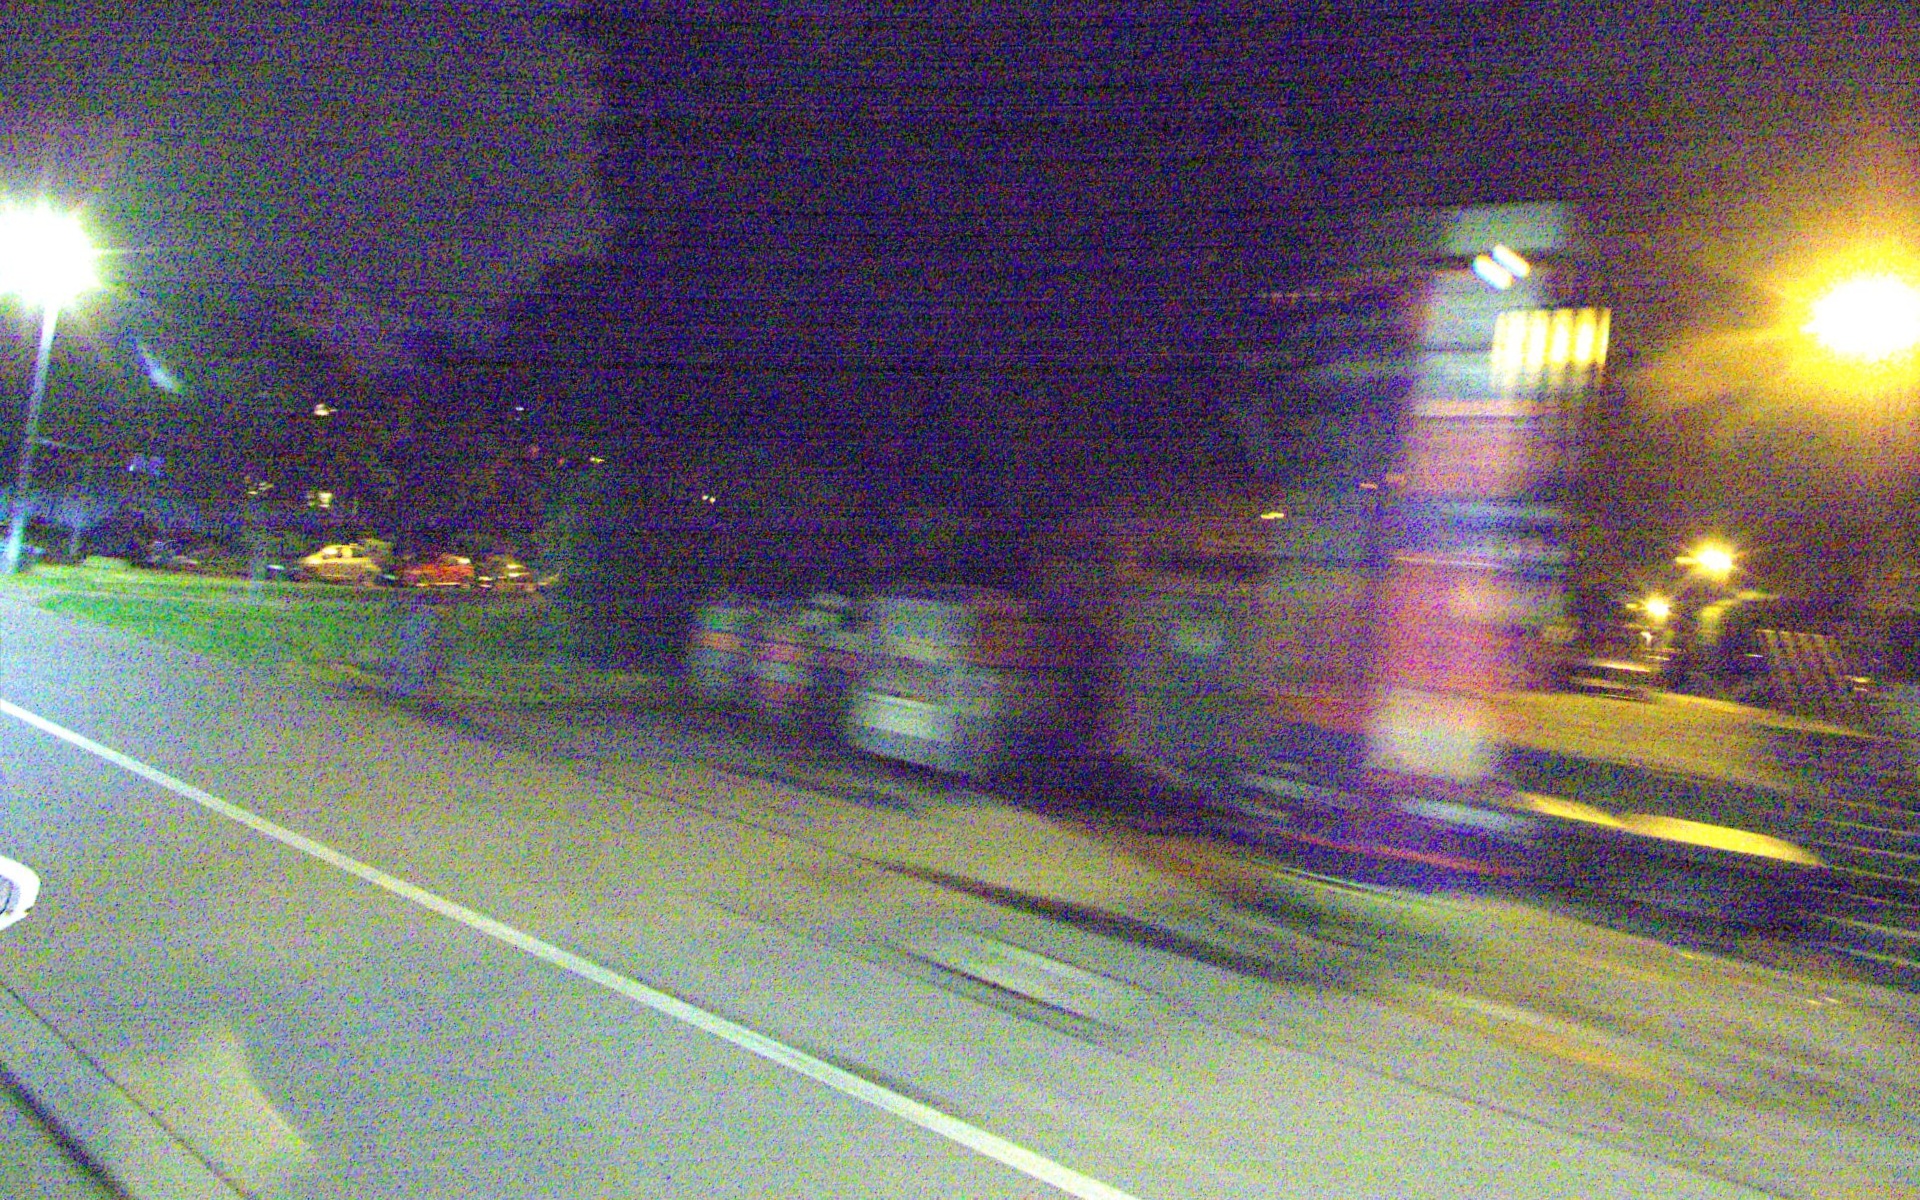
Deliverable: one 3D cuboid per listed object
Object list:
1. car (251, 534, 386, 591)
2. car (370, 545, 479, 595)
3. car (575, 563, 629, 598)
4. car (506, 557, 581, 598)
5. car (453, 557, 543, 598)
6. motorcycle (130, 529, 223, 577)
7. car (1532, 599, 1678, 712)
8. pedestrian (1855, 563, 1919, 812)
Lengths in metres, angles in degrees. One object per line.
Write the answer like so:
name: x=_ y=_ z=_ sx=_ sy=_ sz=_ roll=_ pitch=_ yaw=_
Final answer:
car: x=-22.879 y=-1.302 z=36.033 sx=1.829 sy=1.497 sz=3.634 roll=7 pitch=-1 yaw=16
car: x=-21.703 y=-1.162 z=40.929 sx=1.582 sy=1.566 sz=4.035 roll=7 pitch=-1 yaw=11
car: x=-20.952 y=-1.102 z=59.043 sx=1.637 sy=1.690 sz=3.543 roll=7 pitch=-1 yaw=2
car: x=-21.318 y=-1.116 z=51.674 sx=1.730 sy=1.690 sz=4.330 roll=7 pitch=-1 yaw=2
car: x=-21.262 y=-0.993 z=46.535 sx=1.730 sy=1.492 sz=4.712 roll=7 pitch=-1 yaw=2
motorcycle: x=-24.850 y=-1.477 z=31.971 sx=0.698 sy=1.229 sz=2.267 roll=7 pitch=-1 yaw=16
car: x=11.840 y=1.046 z=18.566 sx=1.920 sy=1.684 sz=3.787 roll=6 pitch=0 yaw=32
pedestrian: x=7.959 y=0.735 z=8.163 sx=0.760 sy=1.961 sz=0.647 roll=7 pitch=0 yaw=32
